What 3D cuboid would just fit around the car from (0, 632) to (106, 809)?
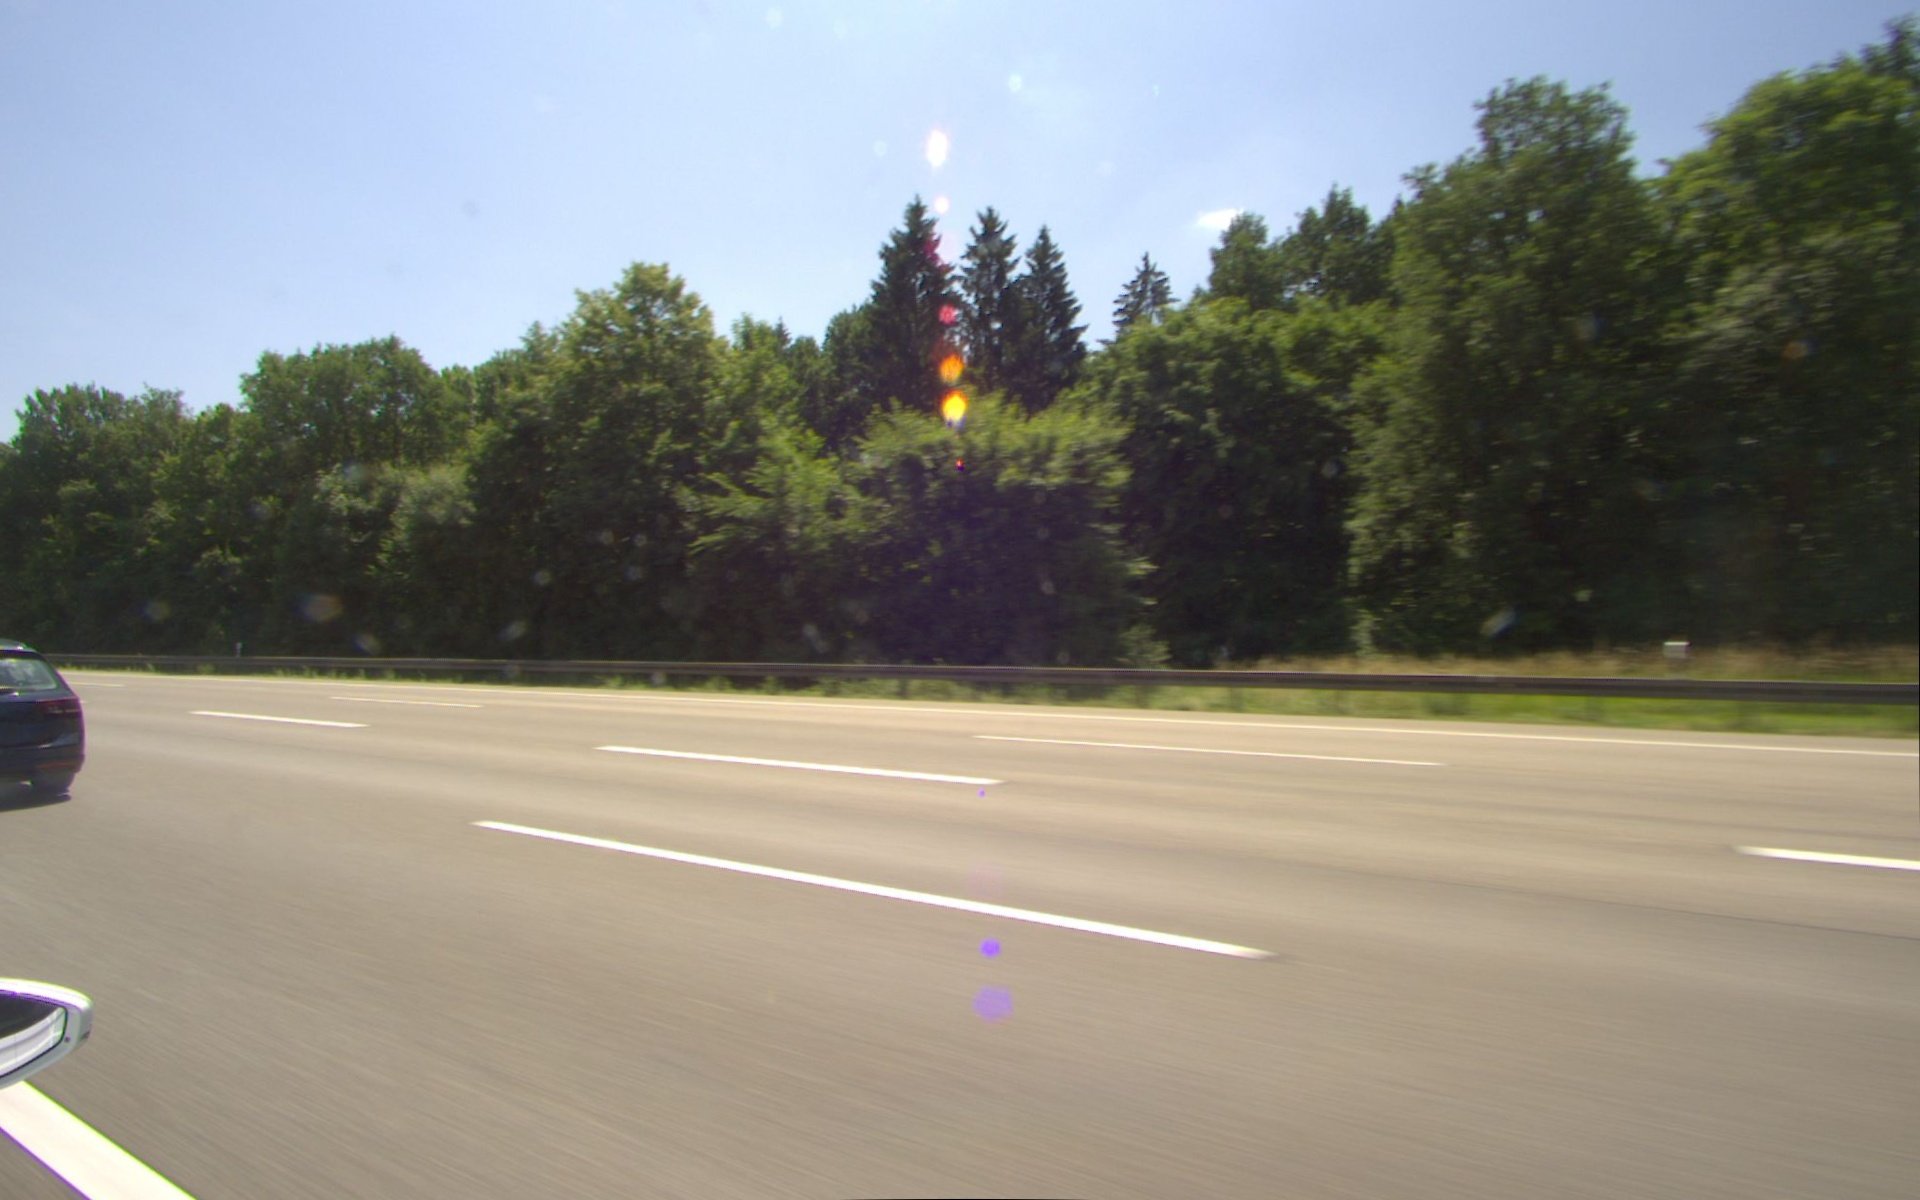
[{"bbox_3d":[-10.142,1.035,9.510,4.890,1.466,1.727,-1,-2,32],"label":"car"}]
